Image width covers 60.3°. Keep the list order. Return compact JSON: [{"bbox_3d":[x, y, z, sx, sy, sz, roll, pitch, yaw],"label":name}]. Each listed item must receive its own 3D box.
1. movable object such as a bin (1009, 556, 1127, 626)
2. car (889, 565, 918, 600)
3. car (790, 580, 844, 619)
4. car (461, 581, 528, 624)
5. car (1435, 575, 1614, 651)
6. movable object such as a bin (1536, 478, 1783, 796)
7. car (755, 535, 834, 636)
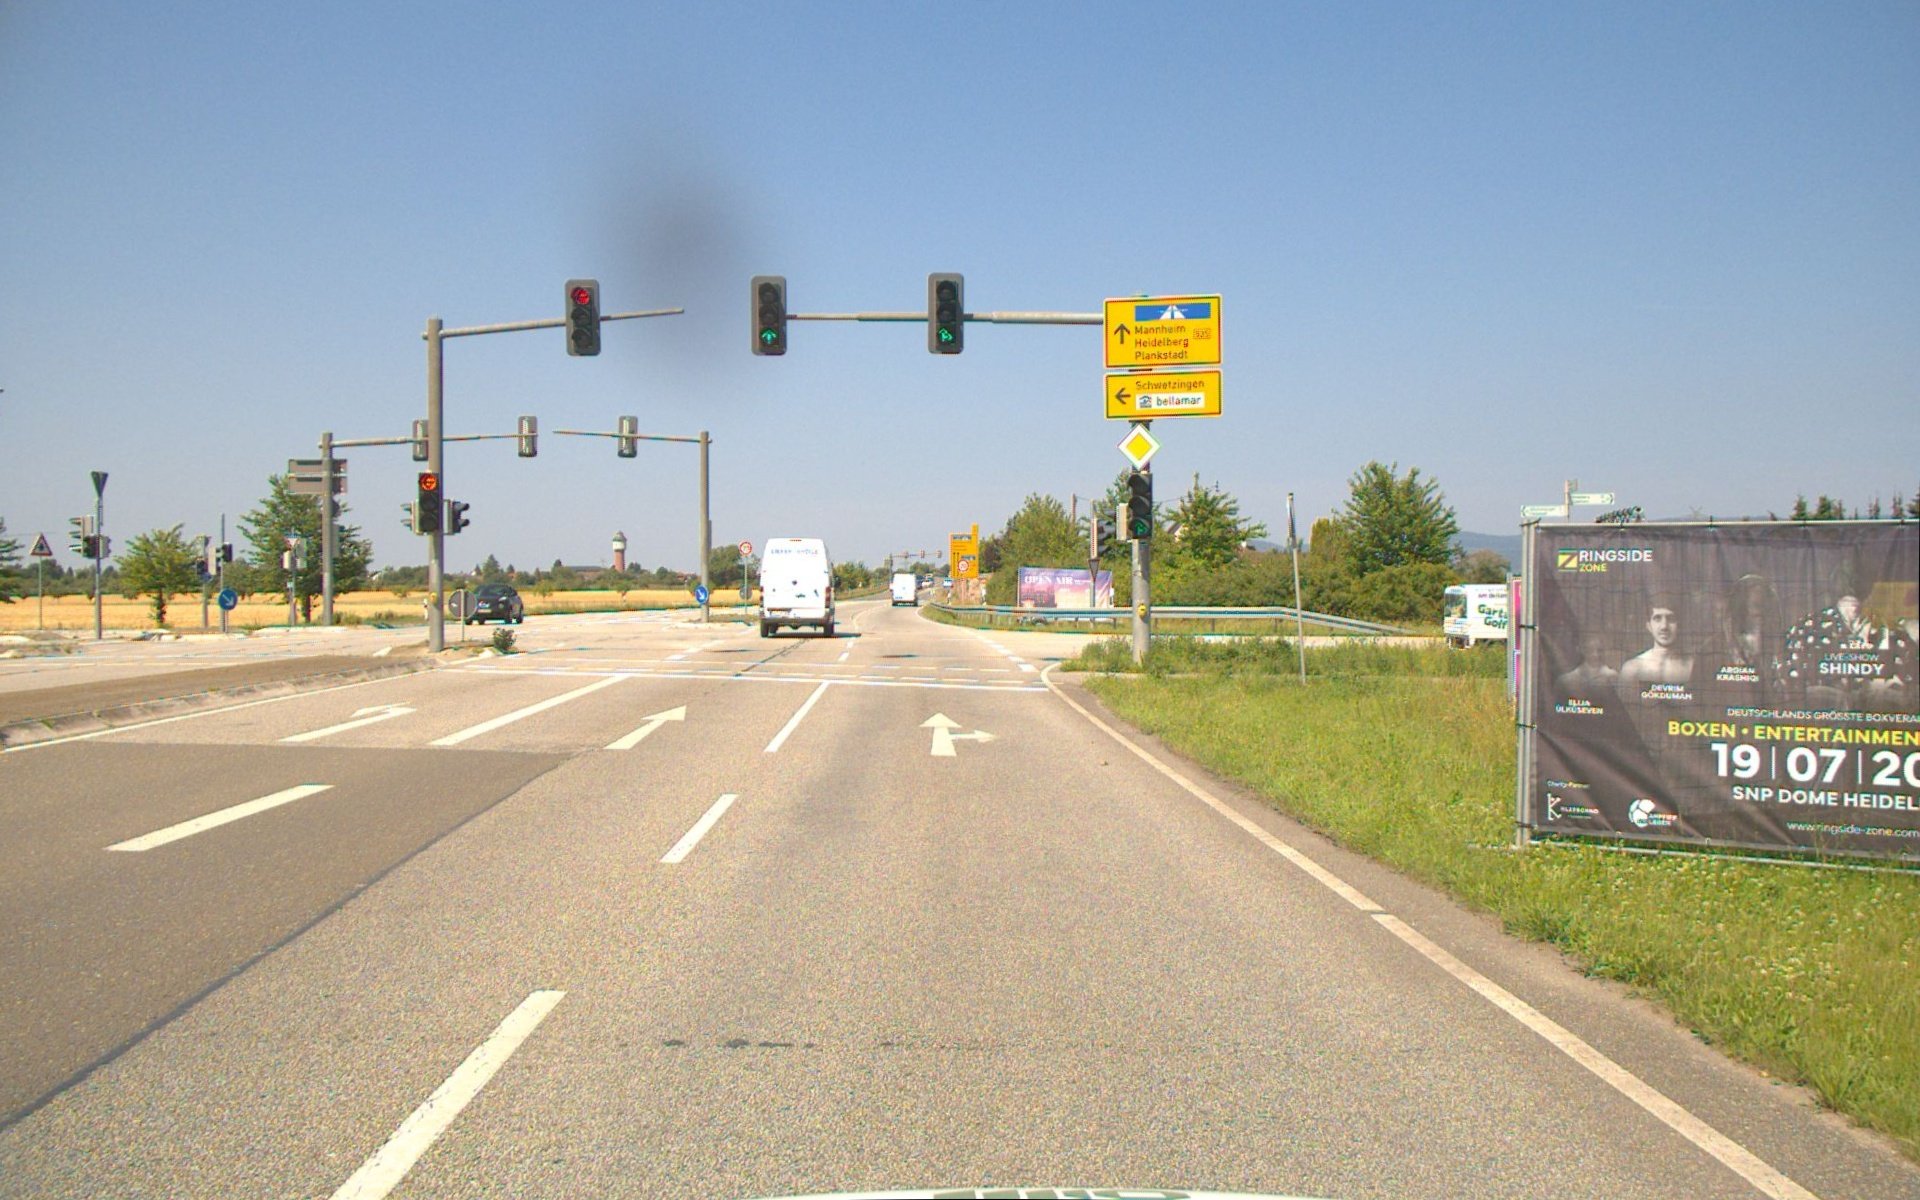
[{"bbox_3d":[3.846,-0.307,59.293,4.015,2.372,1.276,1,0,-6],"label":"movable object such as a bin"},{"bbox_3d":[-4.536,-1.383,133.186,1.952,2.742,4.970,1,-1,2],"label":"car"},{"bbox_3d":[-5.848,-0.039,68.098,1.762,1.534,4.197,0,1,1],"label":"car"},{"bbox_3d":[-18.304,0.092,65.204,1.795,1.628,4.300,-1,0,-6],"label":"car"},{"bbox_3d":[11.769,0.268,34.545,3.274,1.526,1.398,0,0,-8],"label":"car"},{"bbox_3d":[6.100,0.279,14.831,1.489,2.404,4.427,1,0,16],"label":"movable object such as a bin"},{"bbox_3d":[-4.609,-0.416,46.708,1.999,2.665,5.736,-1,1,-4],"label":"car"}]
